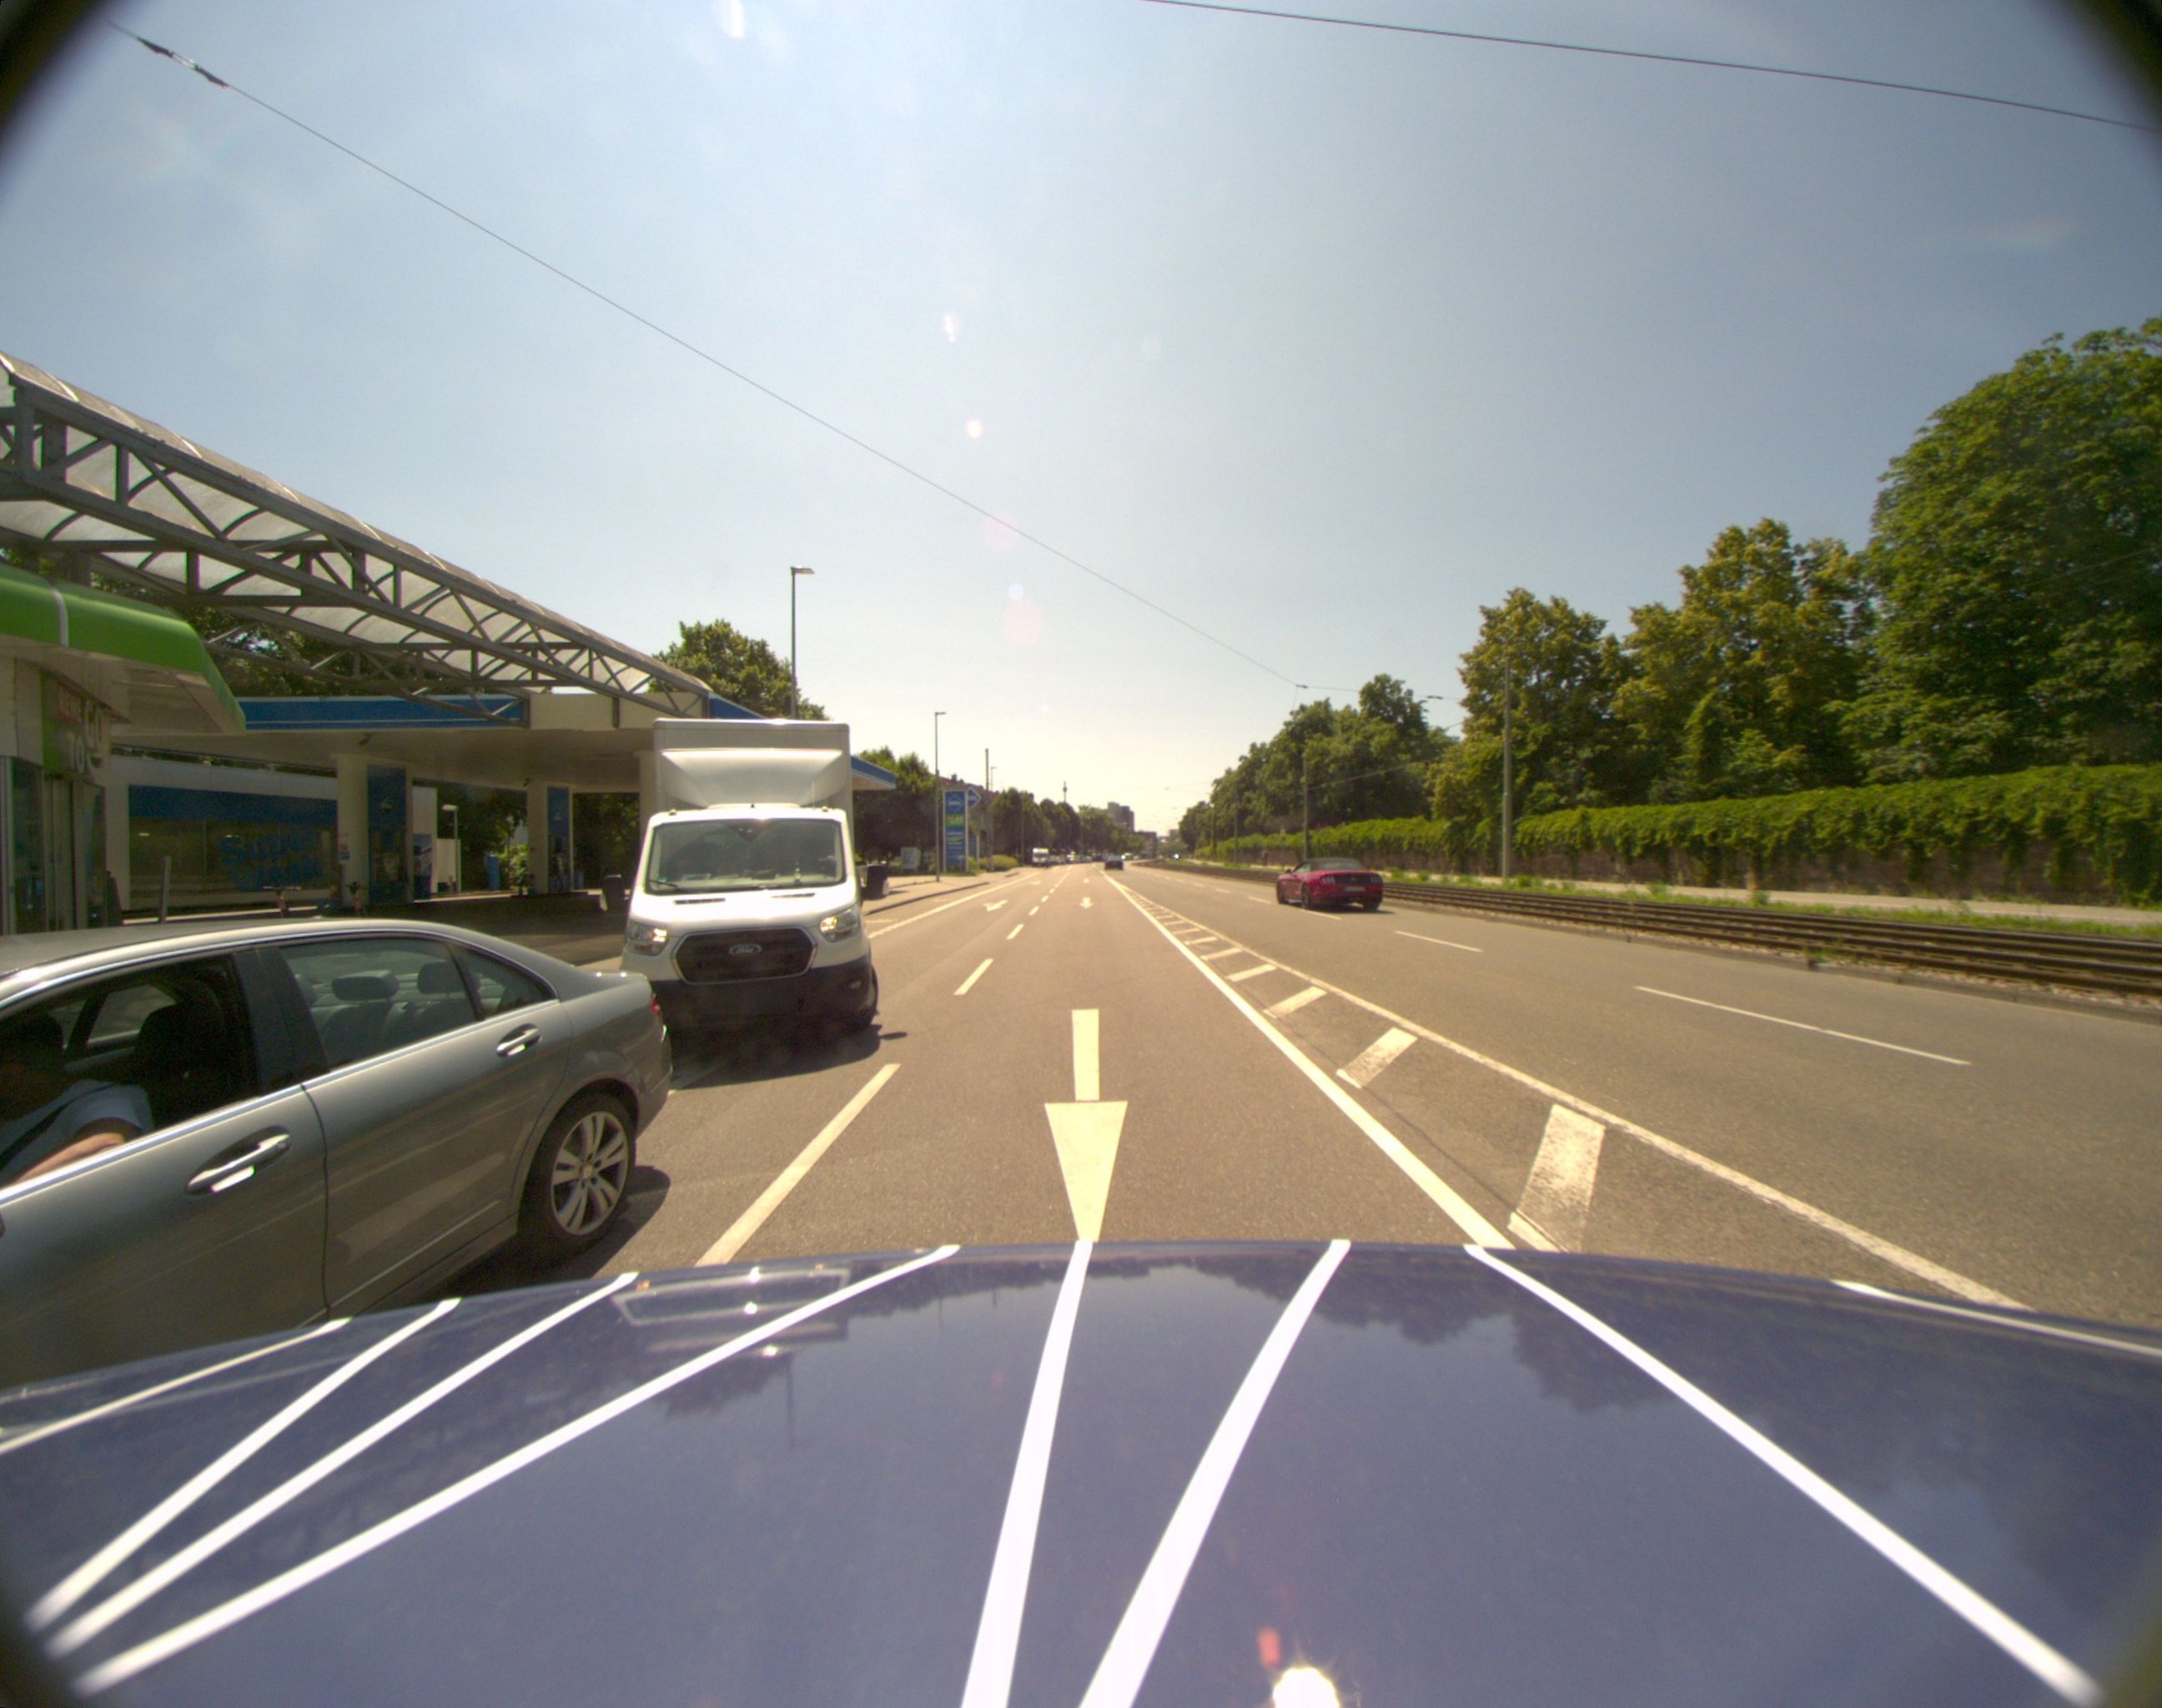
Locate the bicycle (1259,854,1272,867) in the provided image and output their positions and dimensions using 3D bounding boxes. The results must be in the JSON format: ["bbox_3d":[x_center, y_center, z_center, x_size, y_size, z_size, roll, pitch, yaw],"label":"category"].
[{"bbox_3d":[17.657,0.627,72.696,0.830,1.149,2.686,-1,0,6],"label":"bicycle"}]

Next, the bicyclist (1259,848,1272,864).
[{"bbox_3d":[17.628,0.184,72.611,0.996,1.477,1.000,-1,1,6],"label":"bicyclist"}]

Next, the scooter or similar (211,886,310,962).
[{"bbox_3d":[-13.070,1.110,12.114,1.138,1.170,0.384,-1,1,1],"label":"scooter or similar"}]

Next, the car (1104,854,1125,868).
[{"bbox_3d":[3.396,0.675,77.655,1.798,1.391,4.447,0,0,-2],"label":"car"}]

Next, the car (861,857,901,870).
[{"bbox_3d":[-24.657,1.198,93.744,4.221,1.512,2.001,-1,0,8],"label":"car"}]

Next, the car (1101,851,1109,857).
[{"bbox_3d":[6.256,0.011,199.630,1.998,1.718,4.000,-1,0,1],"label":"car"}]

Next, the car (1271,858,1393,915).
[{"bbox_3d":[6.814,0.821,21.180,1.989,1.350,4.538,-1,0,1],"label":"car"}]

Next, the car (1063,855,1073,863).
[{"bbox_3d":[-2.592,0.956,148.359,1.725,1.586,4.001,-1,0,3],"label":"car"}]

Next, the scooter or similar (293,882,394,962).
[{"bbox_3d":[-11.777,1.074,12.147,1.176,1.233,0.411,-1,1,1],"label":"scooter or similar"}]

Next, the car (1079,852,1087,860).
[{"bbox_3d":[0.478,0.410,168.380,1.807,1.585,4.000,-1,0,1],"label":"car"}]

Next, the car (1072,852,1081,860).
[{"bbox_3d":[-0.938,0.385,160.173,1.907,1.707,4.000,-1,0,1],"label":"car"}]

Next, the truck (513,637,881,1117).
[{"bbox_3d":[-4.115,0.155,9.429,2.430,3.372,7.820,-1,0,-20],"label":"truck"}]

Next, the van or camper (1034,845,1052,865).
[{"bbox_3d":[-4.957,0.109,99.549,2.126,2.469,5.992,2,0,-1],"label":"van or camper"}]

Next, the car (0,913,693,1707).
[{"bbox_3d":[-2.935,1.044,1.669,1.800,1.441,4.418,-1,0,1],"label":"car"}]
